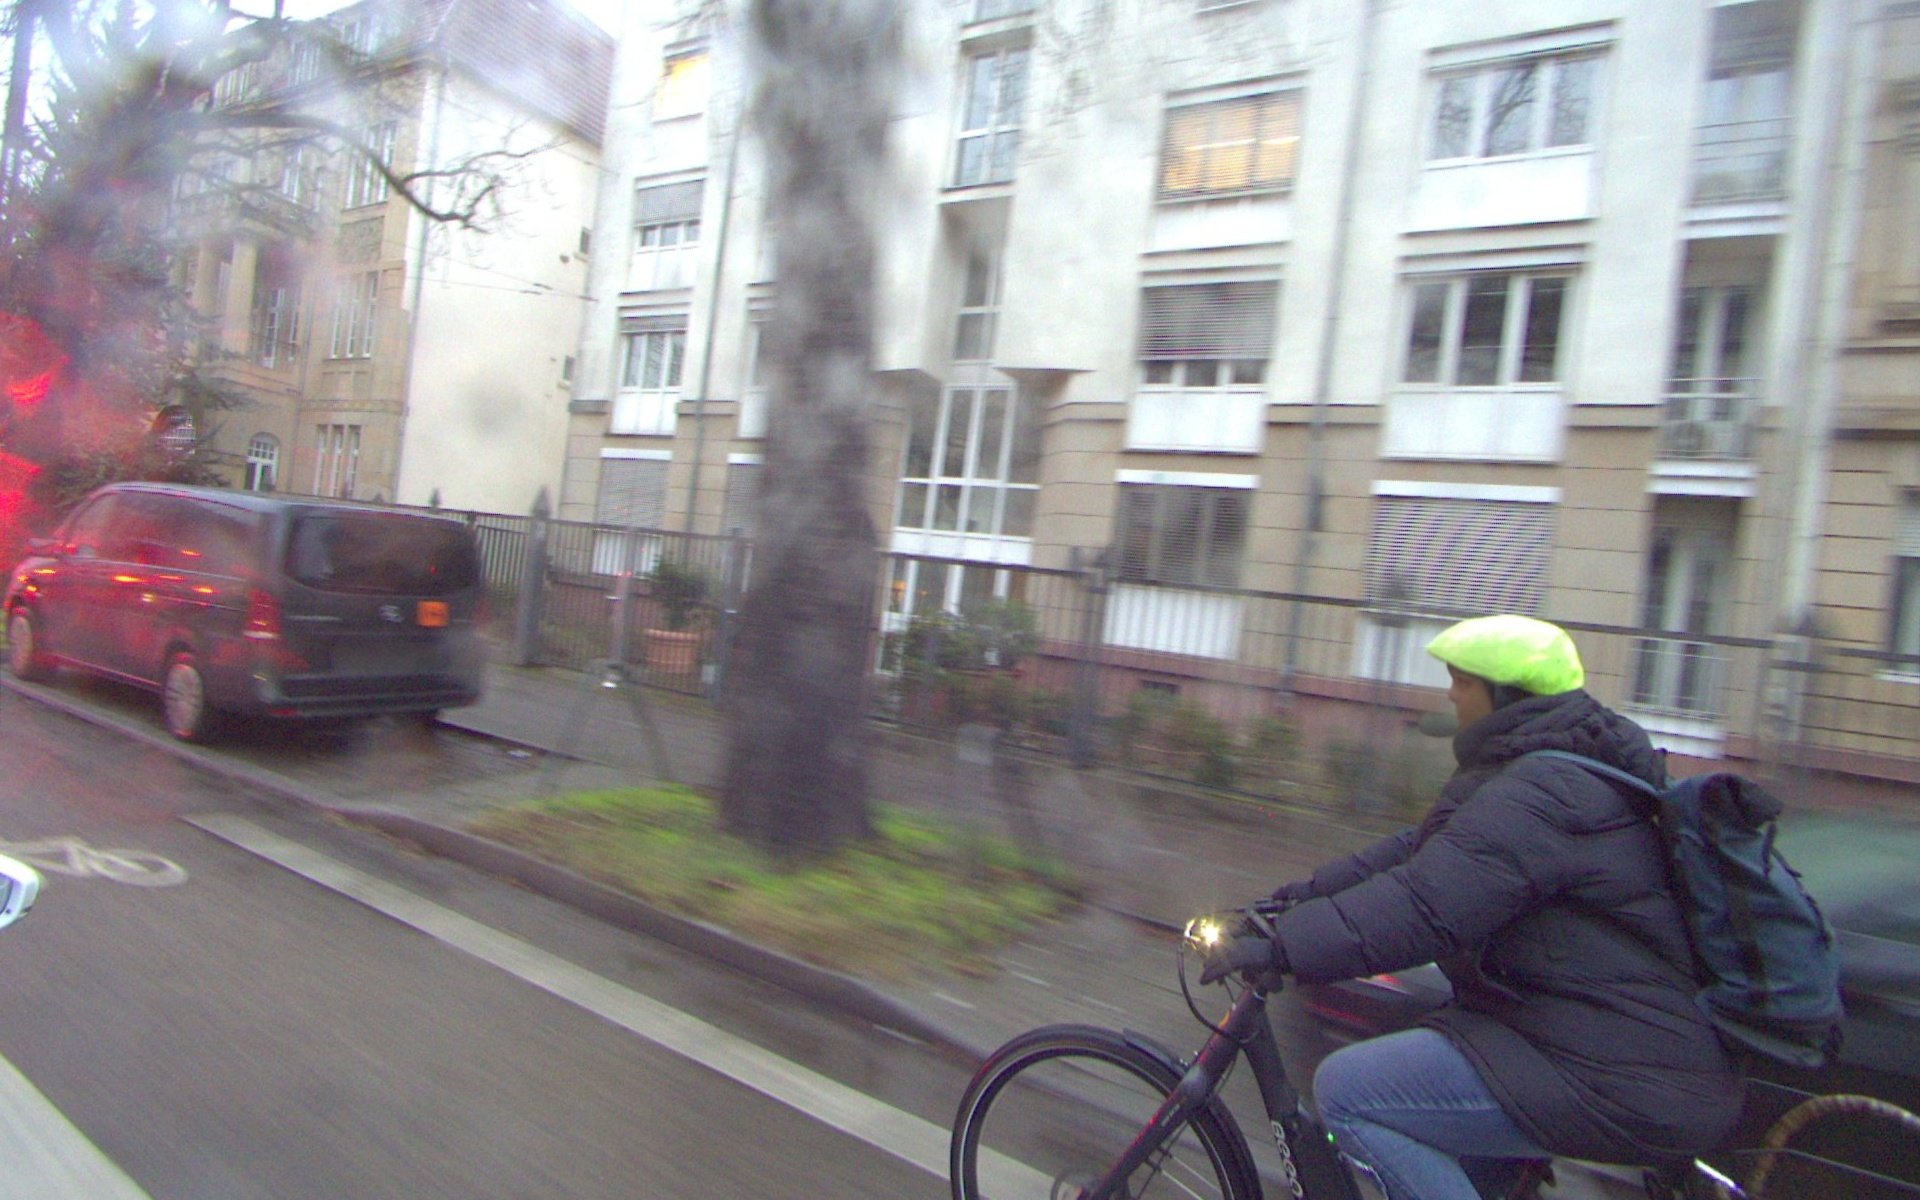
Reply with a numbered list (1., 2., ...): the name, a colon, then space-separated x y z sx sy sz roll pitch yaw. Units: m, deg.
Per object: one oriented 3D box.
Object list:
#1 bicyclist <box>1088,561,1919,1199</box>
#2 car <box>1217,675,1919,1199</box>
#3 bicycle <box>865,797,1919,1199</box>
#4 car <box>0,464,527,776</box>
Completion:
1. bicyclist: 0.885 0.859 1.881 1.038 1.681 0.719 7 -2 27
2. car: 3.123 1.274 3.074 4.087 1.464 1.759 7 1 30
3. bicycle: 0.837 1.145 1.876 1.907 1.125 0.719 7 -2 27
4. car: -6.280 0.033 8.738 4.880 1.899 2.033 7 0 31
